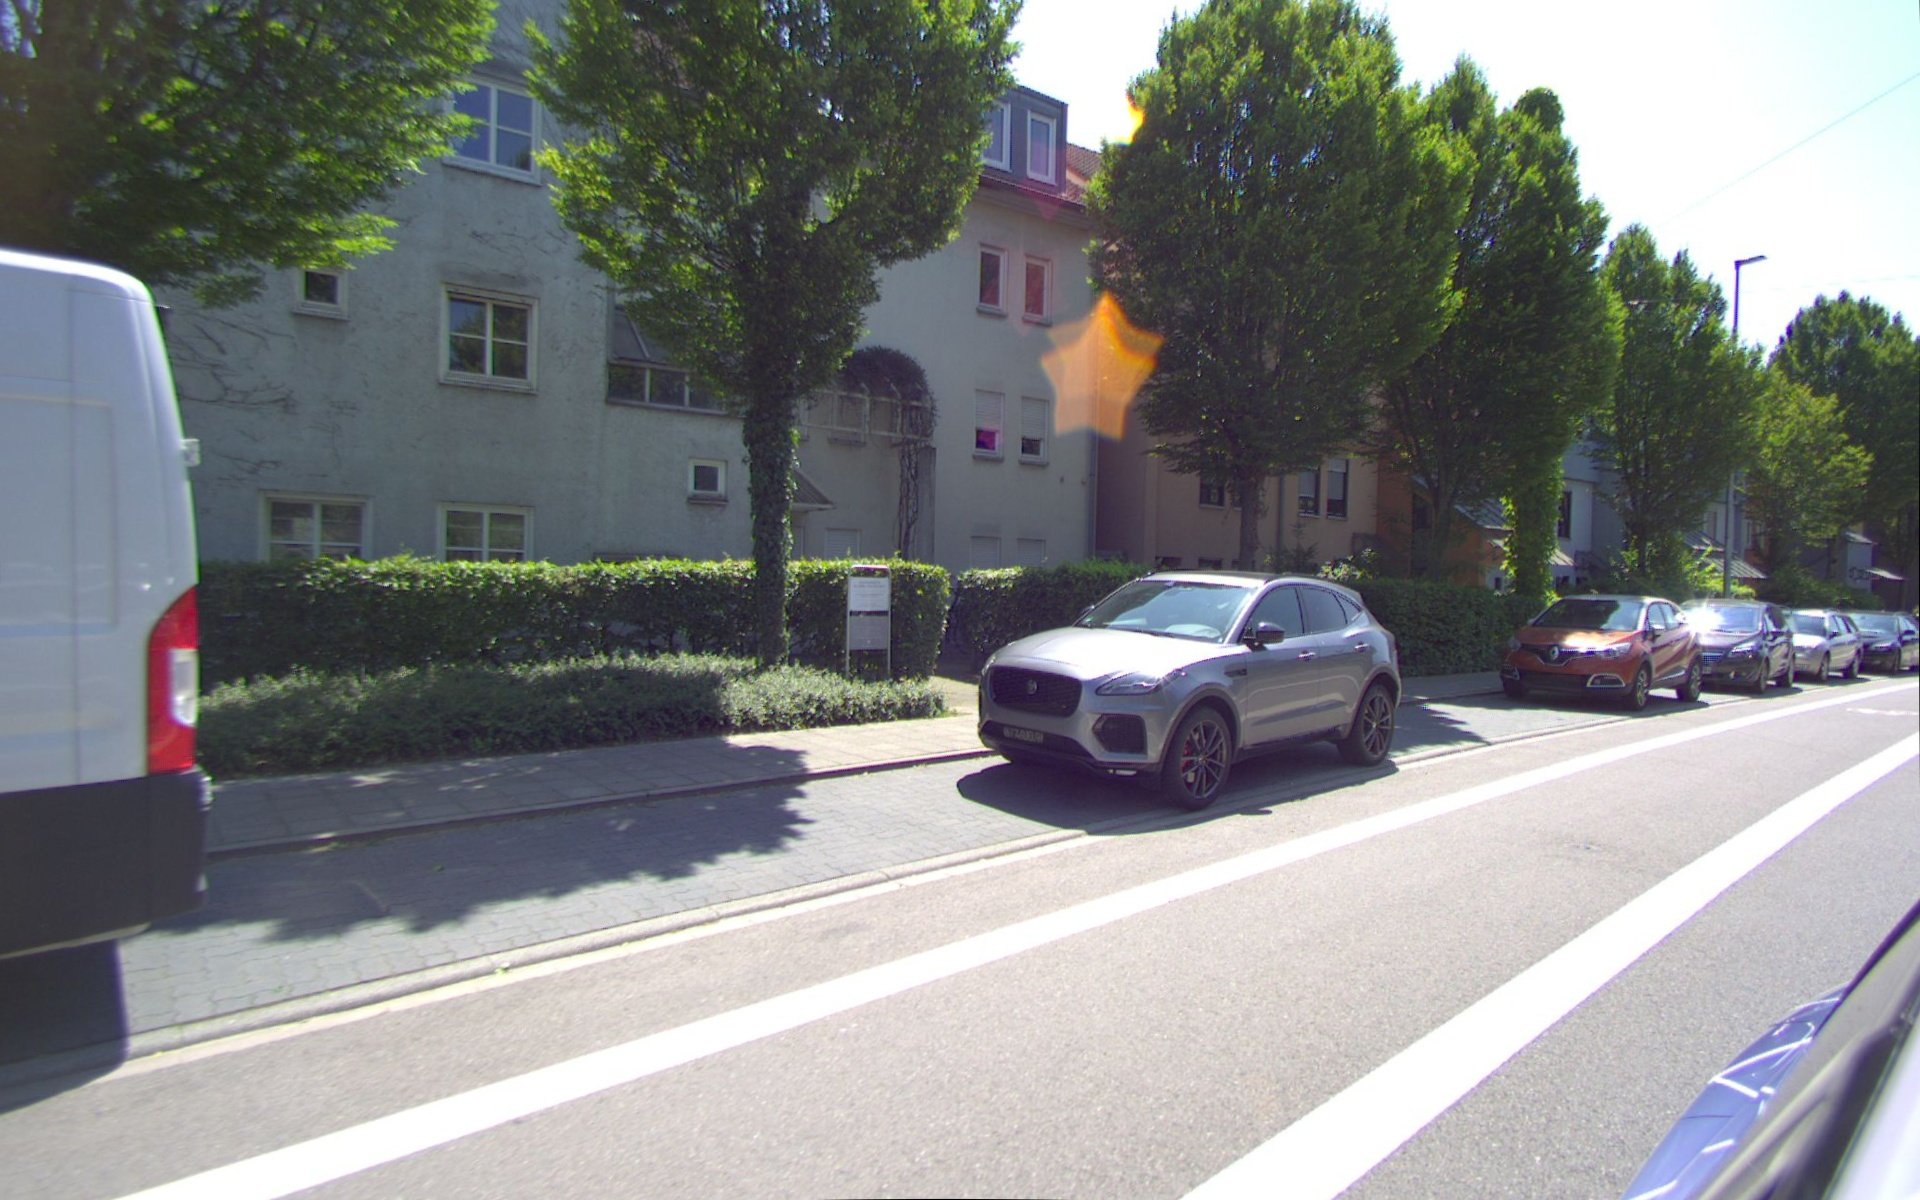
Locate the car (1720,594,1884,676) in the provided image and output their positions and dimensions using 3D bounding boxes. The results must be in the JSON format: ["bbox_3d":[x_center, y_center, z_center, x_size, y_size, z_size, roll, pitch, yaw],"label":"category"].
[{"bbox_3d":[18.323,0.698,21.956,4.644,1.511,1.712,0,3,-38],"label":"car"}]

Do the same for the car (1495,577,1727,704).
[{"bbox_3d":[9.816,0.516,15.136,4.248,1.581,1.711,0,3,-41],"label":"car"}]

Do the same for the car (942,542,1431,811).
[{"bbox_3d":[2.051,0.442,8.370,4.249,1.650,1.759,0,3,-42],"label":"car"}]

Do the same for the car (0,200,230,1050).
[{"bbox_3d":[-5.274,0.033,2.008,6.006,2.487,2.004,0,3,-43],"label":"car"}]

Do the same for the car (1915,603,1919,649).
[{"bbox_3d":[32.035,0.876,32.205,4.100,1.440,1.589,1,3,-35],"label":"car"}]

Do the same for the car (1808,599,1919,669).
[{"bbox_3d":[23.154,0.792,25.408,4.944,1.511,1.712,0,3,-37],"label":"car"}]

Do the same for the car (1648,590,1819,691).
[{"bbox_3d":[14.377,0.661,18.726,4.250,1.581,1.710,0,3,-42],"label":"car"}]
